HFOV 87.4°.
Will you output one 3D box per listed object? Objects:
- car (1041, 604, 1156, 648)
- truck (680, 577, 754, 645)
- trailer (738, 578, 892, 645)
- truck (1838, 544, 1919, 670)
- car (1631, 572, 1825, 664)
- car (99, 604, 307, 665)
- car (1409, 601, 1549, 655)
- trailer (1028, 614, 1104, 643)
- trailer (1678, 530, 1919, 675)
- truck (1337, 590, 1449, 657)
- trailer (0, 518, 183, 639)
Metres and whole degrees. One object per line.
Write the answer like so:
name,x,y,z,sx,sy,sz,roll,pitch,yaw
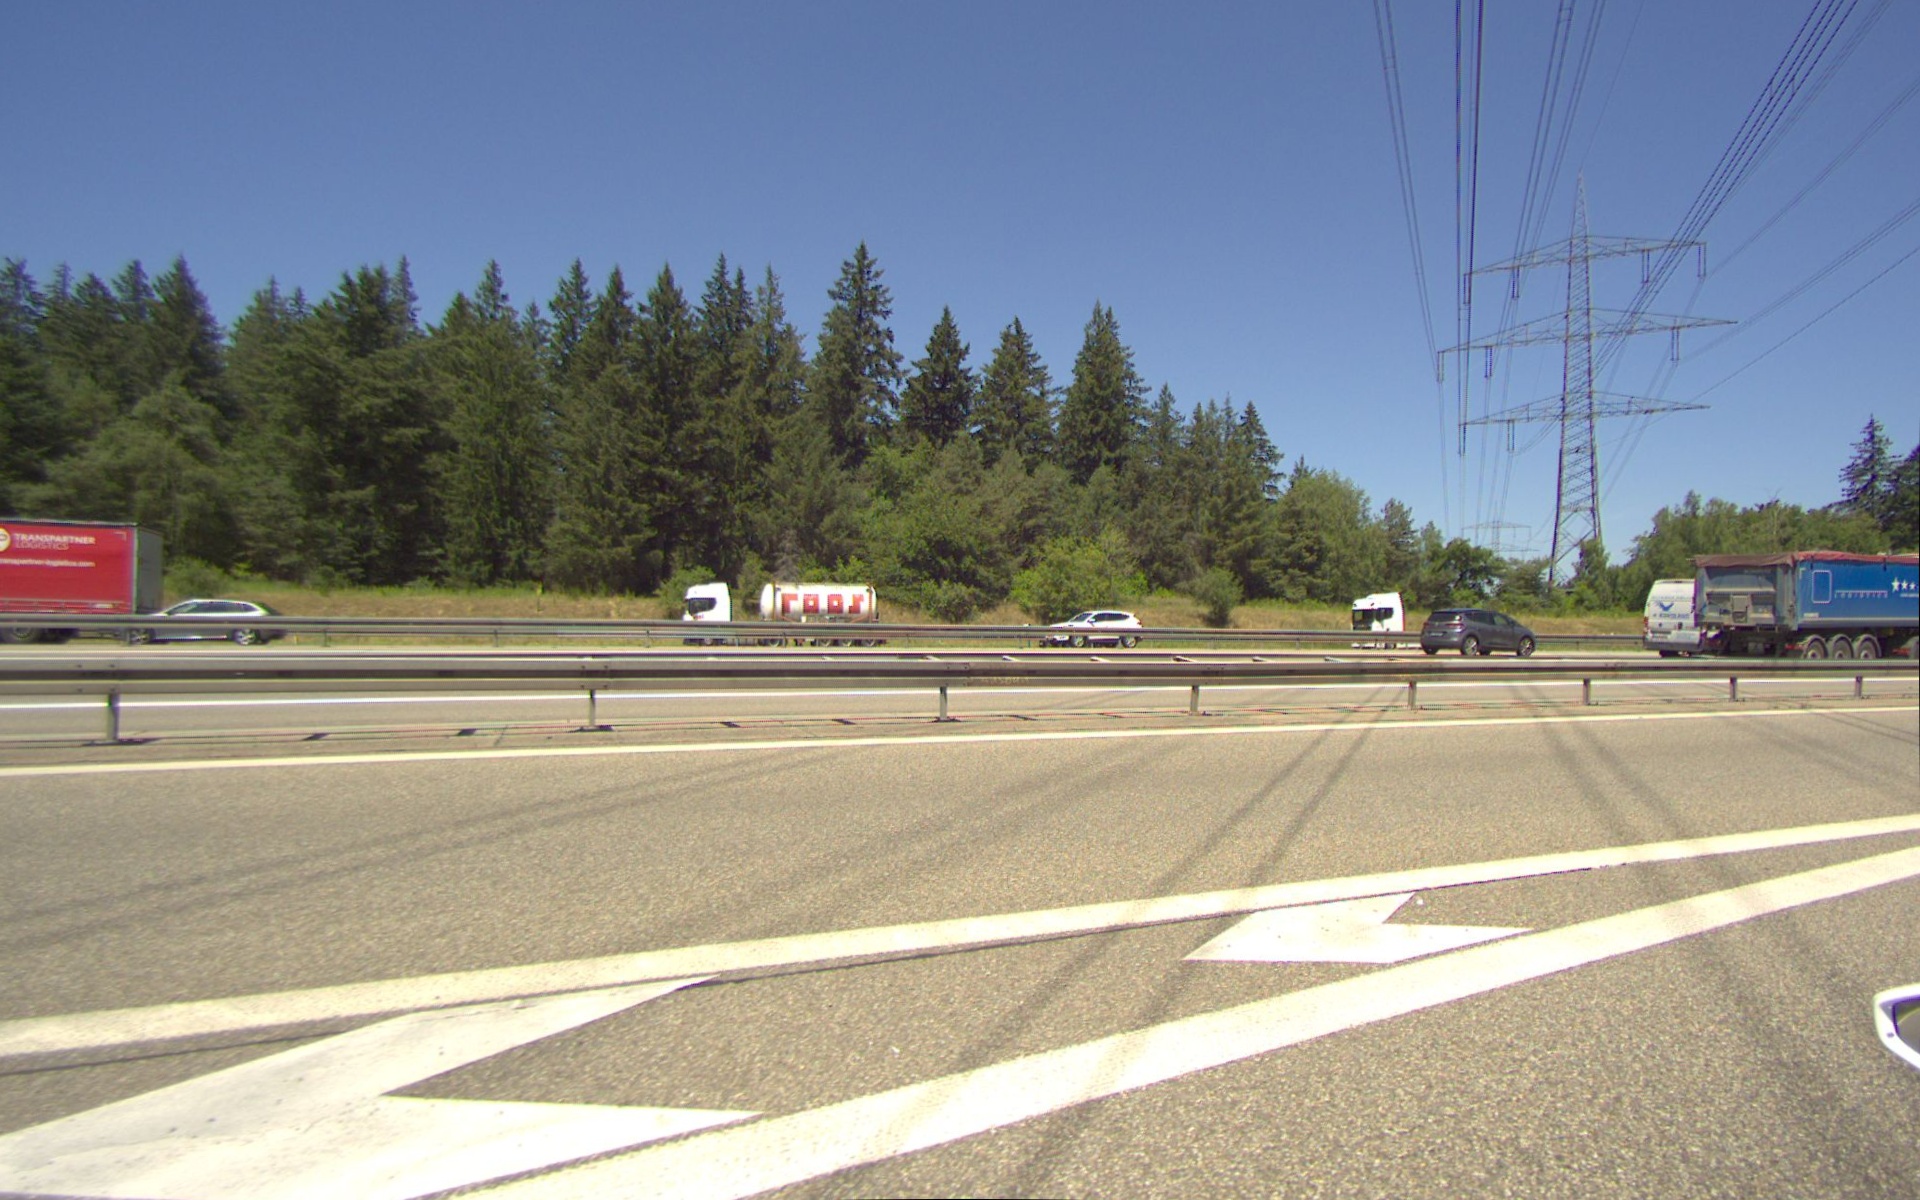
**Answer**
car,6.117,1.154,44.314,4.758,1.706,1.767,3,-1,-24
truck,-14.194,0.661,58.564,3.938,3.848,2.765,0,0,-19
trailer,-8.717,0.713,60.379,8.795,3.849,2.770,1,0,-19
truck,31.185,0.229,32.323,4.556,3.858,2.750,0,0,-24
car,26.769,0.674,34.966,6.955,2.870,2.233,3,-1,-23
car,-23.371,1.076,31.248,4.758,1.706,1.910,3,-1,-24
car,18.319,1.004,35.444,4.758,1.706,1.767,3,-1,-24
trailer,6.915,1.872,65.685,4.528,1.843,1.991,1,-1,-20
trailer,25.928,0.144,29.983,9.746,3.858,2.764,1,0,-24
truck,30.762,1.672,71.325,7.421,4.402,2.854,3,-1,-22
trailer,-33.508,-0.703,32.031,13.542,3.848,2.536,1,0,-23
